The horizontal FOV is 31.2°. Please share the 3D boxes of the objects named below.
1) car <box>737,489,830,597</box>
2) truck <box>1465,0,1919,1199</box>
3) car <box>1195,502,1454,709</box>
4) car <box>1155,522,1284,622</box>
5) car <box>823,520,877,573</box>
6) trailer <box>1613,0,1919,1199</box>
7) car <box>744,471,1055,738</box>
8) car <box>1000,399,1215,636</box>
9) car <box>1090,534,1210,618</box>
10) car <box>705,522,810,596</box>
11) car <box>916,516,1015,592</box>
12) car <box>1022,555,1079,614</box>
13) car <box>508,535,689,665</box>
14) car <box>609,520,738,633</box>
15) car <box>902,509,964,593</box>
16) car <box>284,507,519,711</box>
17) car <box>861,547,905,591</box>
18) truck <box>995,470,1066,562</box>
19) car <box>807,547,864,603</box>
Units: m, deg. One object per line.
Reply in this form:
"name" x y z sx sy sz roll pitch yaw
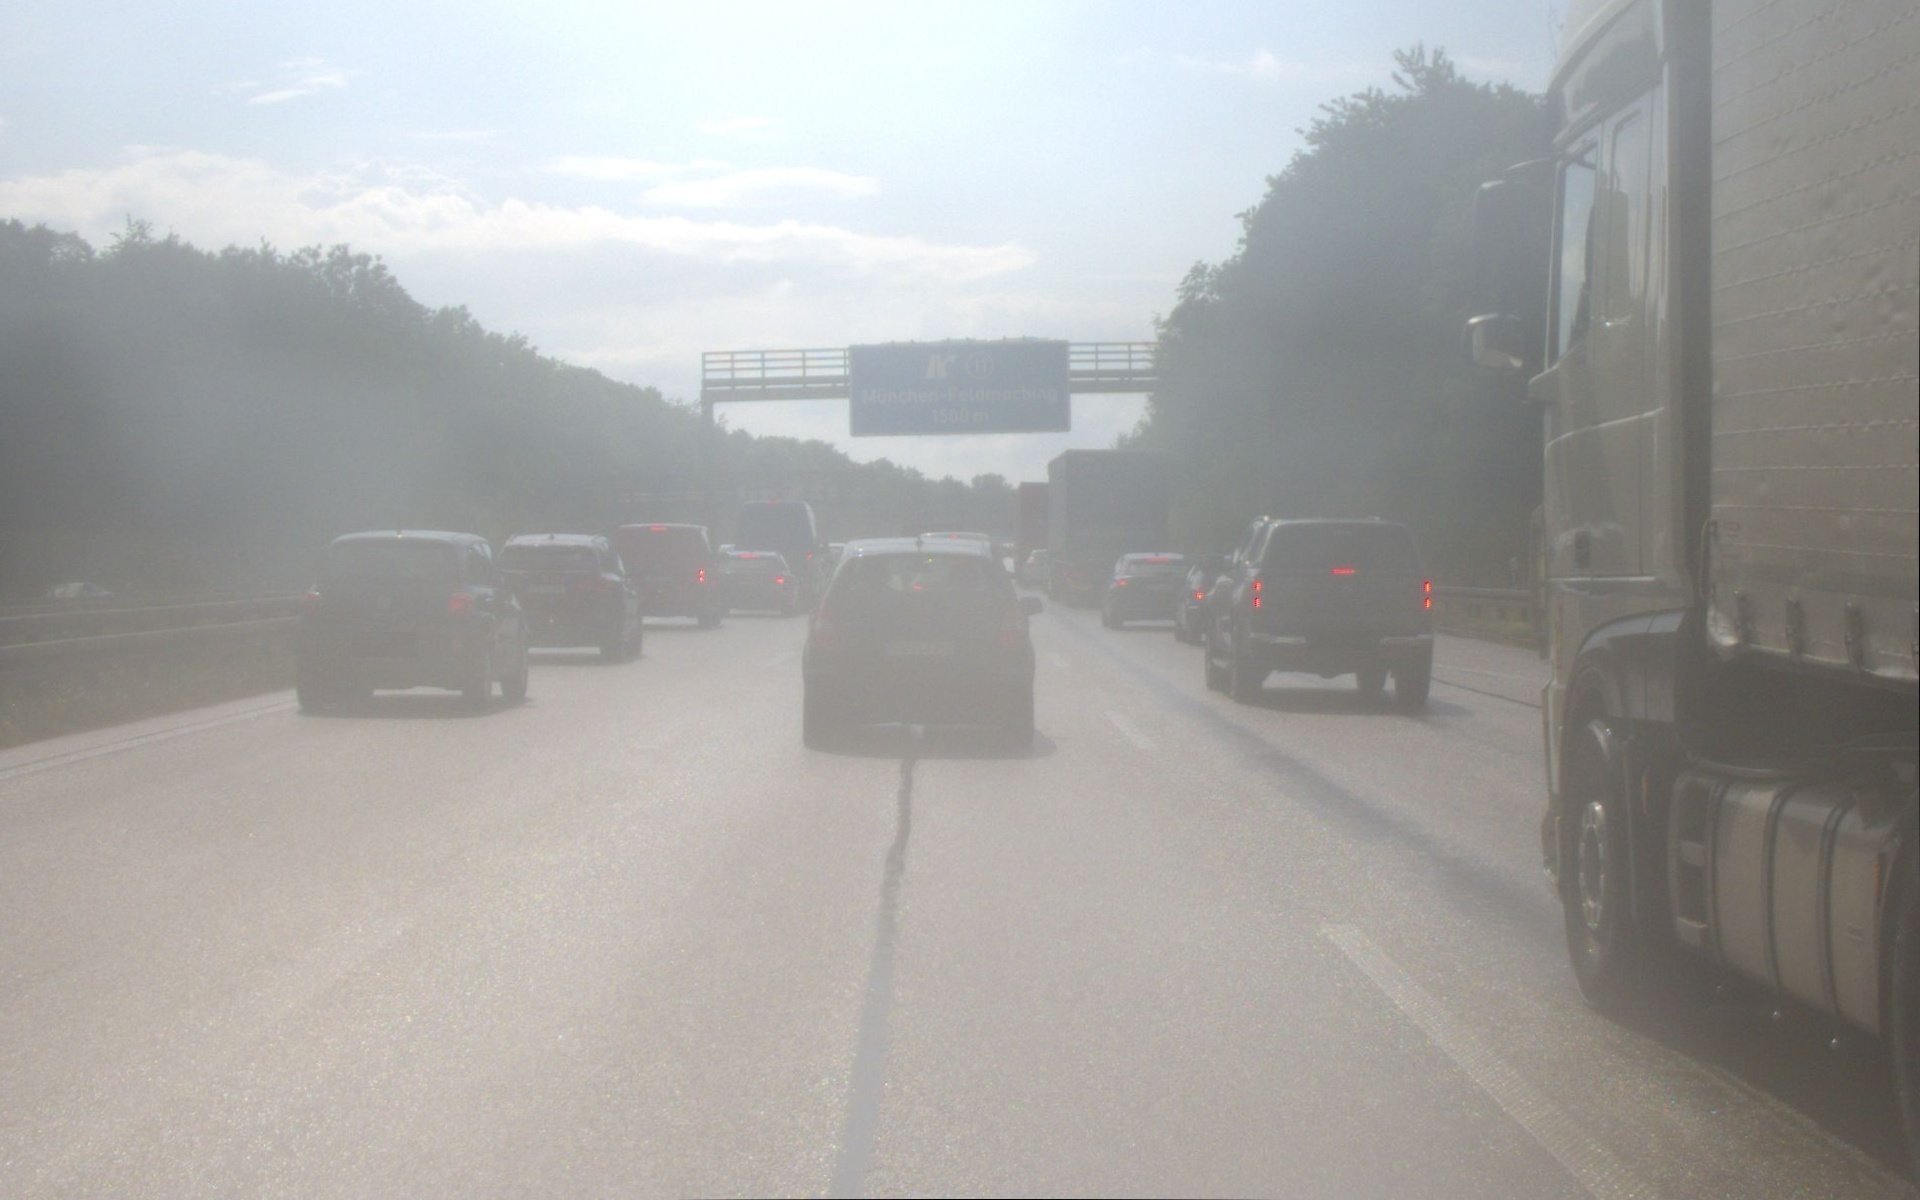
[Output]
"car" -4.381 -1.403 86.063 1.993 2.606 5.259 1 0 0
"truck" 3.573 -0.585 9.315 3.284 3.877 6.397 1 1 -1
"car" 3.605 0.027 34.981 1.941 1.912 5.652 1 0 -1
"car" 4.075 -0.453 54.487 1.590 1.511 3.976 1 0 -2
"car" -4.500 -2.167 141.168 1.993 2.108 4.889 1 0 0
"trailer" 3.690 -0.454 2.833 3.283 3.885 14.130 1 1 -1
"car" -0.515 0.011 27.754 2.274 1.948 4.822 1 0 -2
"car" 3.751 -2.117 93.427 4.403 5.810 16.820 1 0 -2
"car" 3.540 -0.464 64.570 1.864 1.511 3.976 1 0 -2
"car" -4.429 -0.901 75.818 1.993 1.559 4.756 1 0 0
"car" 0.082 -0.938 70.783 1.864 1.511 3.976 1 0 -2
"car" 3.320 -0.575 127.328 1.993 2.108 4.889 1 0 0
"car" -4.827 -0.018 46.452 1.909 1.631 4.617 -1 0 0
"car" -5.360 -0.448 64.804 1.978 2.047 4.756 1 0 0
"car" -0.881 -1.633 115.771 1.993 2.737 5.259 1 0 0
"car" -5.221 0.061 32.574 1.692 1.798 3.976 1 0 -2
"car" -3.768 -1.497 168.489 1.993 2.108 4.889 1 0 0
"truck" 2.846 -3.401 140.557 2.775 3.619 5.917 1 0 0
"car" -4.825 -0.972 133.895 1.993 2.108 4.889 1 0 0
